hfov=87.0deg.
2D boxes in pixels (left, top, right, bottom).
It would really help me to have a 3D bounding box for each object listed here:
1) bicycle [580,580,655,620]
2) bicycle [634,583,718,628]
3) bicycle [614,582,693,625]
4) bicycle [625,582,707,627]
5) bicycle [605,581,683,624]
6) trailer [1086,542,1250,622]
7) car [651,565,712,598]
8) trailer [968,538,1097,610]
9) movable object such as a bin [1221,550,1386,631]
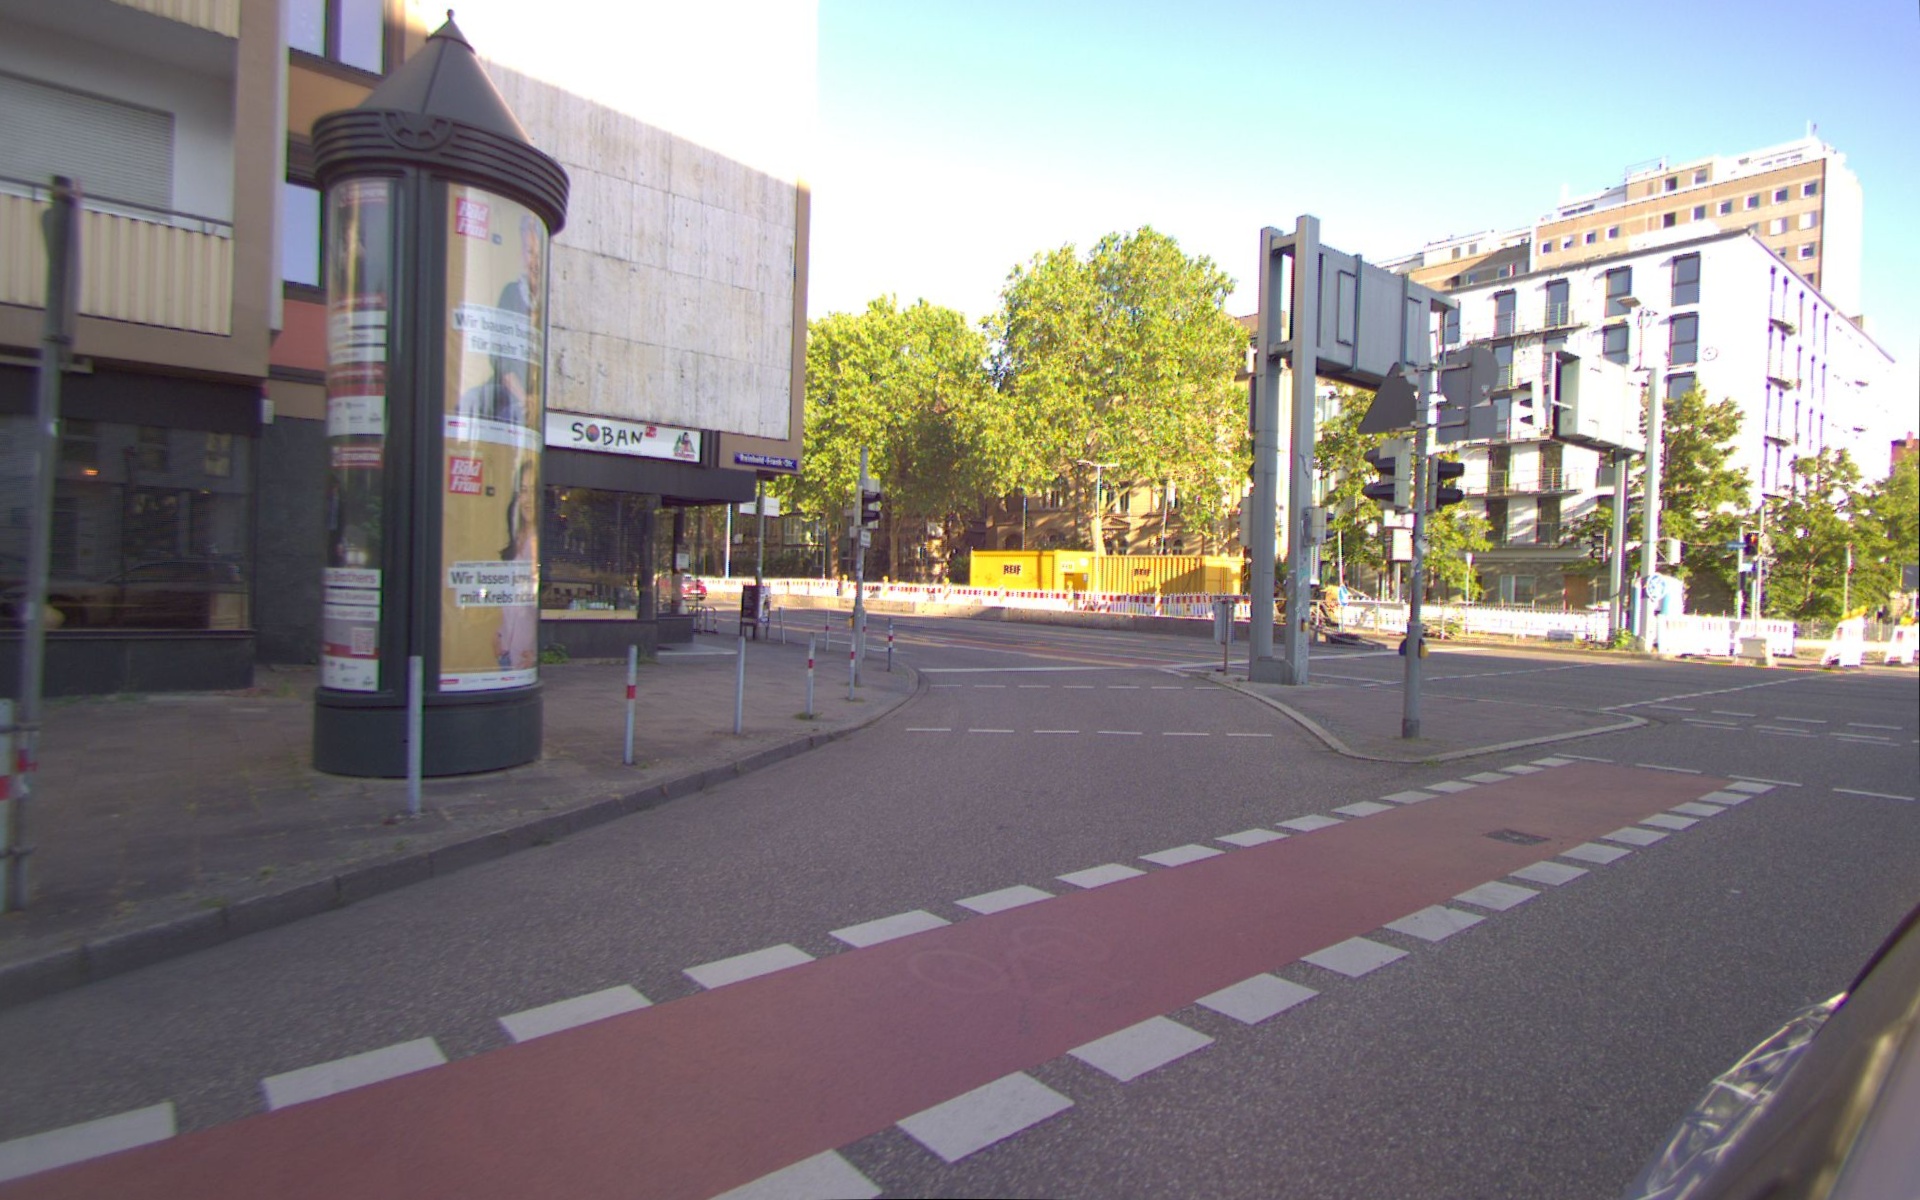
[{"bbox_3d":[-9.756,0.011,28.881,1.973,1.110,0.527,1,1,-42],"label":"bicycle"},{"bbox_3d":[-7.193,0.150,25.693,1.970,1.110,0.528,1,1,-37],"label":"bicycle"},{"bbox_3d":[-8.148,0.097,26.952,1.974,1.110,0.527,1,1,-44],"label":"bicycle"},{"bbox_3d":[-7.611,0.127,26.253,1.970,1.110,0.528,1,1,-37],"label":"bicycle"},{"bbox_3d":[-8.552,0.076,27.420,1.974,1.110,0.527,1,1,-44],"label":"bicycle"},{"bbox_3d":[8.127,-0.750,40.155,2.496,2.903,6.123,1,1,-40],"label":"trailer"},{"bbox_3d":[-15.307,-1.027,55.482,1.739,1.727,3.997,1,1,-39],"label":"car"},{"bbox_3d":[3.207,-1.193,46.309,2.362,3.053,6.129,1,1,-37],"label":"trailer"},{"bbox_3d":[11.880,-0.374,35.366,1.962,2.626,5.216,1,1,-36],"label":"movable object such as a bin"}]
